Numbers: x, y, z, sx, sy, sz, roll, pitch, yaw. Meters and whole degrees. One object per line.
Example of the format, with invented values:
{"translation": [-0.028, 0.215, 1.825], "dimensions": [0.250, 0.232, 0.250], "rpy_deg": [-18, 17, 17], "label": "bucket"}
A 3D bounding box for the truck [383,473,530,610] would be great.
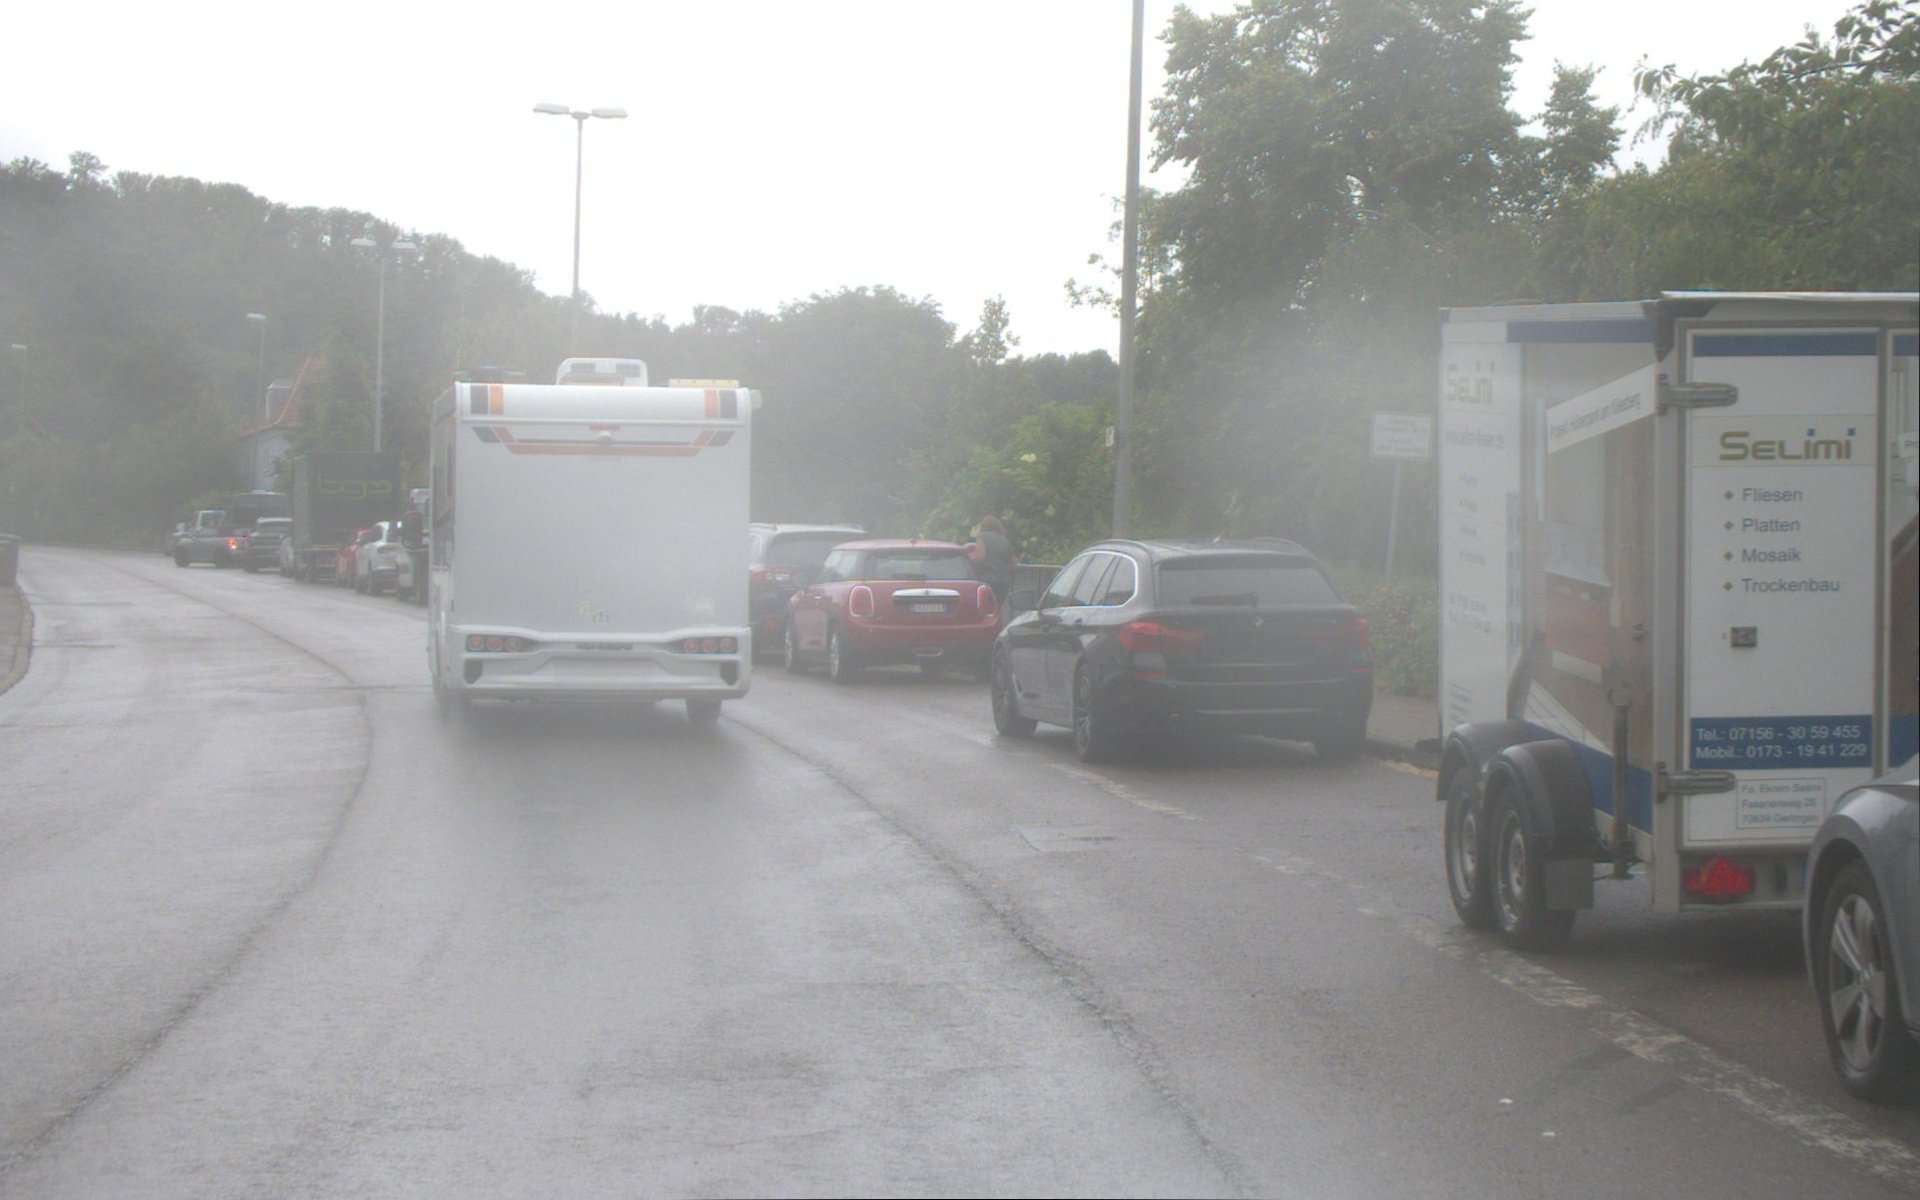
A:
{"translation": [-10.244, -1.167, 69.561], "dimensions": [2.238, 2.622, 6.540], "rpy_deg": [0, 1, -15], "label": "truck"}

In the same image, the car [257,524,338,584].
{"translation": [-19.182, -1.333, 99.409], "dimensions": [1.845, 1.678, 5.640], "rpy_deg": [0, 1, -16], "label": "car"}

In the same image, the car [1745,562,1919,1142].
{"translation": [3.276, 0.638, 7.651], "dimensions": [1.747, 1.419, 4.704], "rpy_deg": [0, 1, -3], "label": "car"}

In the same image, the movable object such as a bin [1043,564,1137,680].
{"translation": [1.251, 0.207, 33.196], "dimensions": [0.713, 1.090, 0.849], "rpy_deg": [1, 1, -11], "label": "movable object such as a bin"}

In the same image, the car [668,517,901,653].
{"translation": [-2.144, -0.197, 40.549], "dimensions": [1.815, 1.501, 4.726], "rpy_deg": [0, 1, -15], "label": "car"}

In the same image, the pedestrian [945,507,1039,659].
{"translation": [0.348, -0.189, 37.516], "dimensions": [0.705, 1.629, 0.719], "rpy_deg": [0, 1, -36], "label": "pedestrian"}

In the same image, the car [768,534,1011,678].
{"translation": [-0.788, 0.032, 35.619], "dimensions": [1.735, 1.409, 3.853], "rpy_deg": [0, 1, -13], "label": "car"}

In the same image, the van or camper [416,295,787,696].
{"translation": [-3.102, -0.727, 28.309], "dimensions": [2.615, 2.843, 6.032], "rpy_deg": [2, -1, -9], "label": "van or camper"}

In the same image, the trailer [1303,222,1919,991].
{"translation": [2.841, -0.011, 13.730], "dimensions": [1.948, 2.448, 5.435], "rpy_deg": [0, 1, -5], "label": "trailer"}

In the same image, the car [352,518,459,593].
{"translation": [-12.262, -0.992, 75.814], "dimensions": [1.759, 1.599, 4.668], "rpy_deg": [0, 1, -16], "label": "car"}

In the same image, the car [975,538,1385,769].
{"translation": [1.418, 0.295, 24.202], "dimensions": [1.792, 1.454, 4.790], "rpy_deg": [0, 1, -10], "label": "car"}

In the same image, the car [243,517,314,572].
{"translation": [-21.165, -1.740, 106.636], "dimensions": [1.936, 1.666, 4.696], "rpy_deg": [0, 1, -14], "label": "car"}

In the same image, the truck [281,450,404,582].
{"translation": [-16.420, -2.189, 91.034], "dimensions": [2.435, 3.324, 7.967], "rpy_deg": [0, 1, -16], "label": "truck"}

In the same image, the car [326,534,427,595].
{"translation": [-14.284, -0.878, 83.969], "dimensions": [1.831, 1.433, 4.988], "rpy_deg": [0, 1, -17], "label": "car"}

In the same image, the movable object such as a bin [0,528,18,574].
{"translation": [-19.918, -1.025, 71.367], "dimensions": [0.602, 0.925, 0.564], "rpy_deg": [2, 1, -20], "label": "movable object such as a bin"}
